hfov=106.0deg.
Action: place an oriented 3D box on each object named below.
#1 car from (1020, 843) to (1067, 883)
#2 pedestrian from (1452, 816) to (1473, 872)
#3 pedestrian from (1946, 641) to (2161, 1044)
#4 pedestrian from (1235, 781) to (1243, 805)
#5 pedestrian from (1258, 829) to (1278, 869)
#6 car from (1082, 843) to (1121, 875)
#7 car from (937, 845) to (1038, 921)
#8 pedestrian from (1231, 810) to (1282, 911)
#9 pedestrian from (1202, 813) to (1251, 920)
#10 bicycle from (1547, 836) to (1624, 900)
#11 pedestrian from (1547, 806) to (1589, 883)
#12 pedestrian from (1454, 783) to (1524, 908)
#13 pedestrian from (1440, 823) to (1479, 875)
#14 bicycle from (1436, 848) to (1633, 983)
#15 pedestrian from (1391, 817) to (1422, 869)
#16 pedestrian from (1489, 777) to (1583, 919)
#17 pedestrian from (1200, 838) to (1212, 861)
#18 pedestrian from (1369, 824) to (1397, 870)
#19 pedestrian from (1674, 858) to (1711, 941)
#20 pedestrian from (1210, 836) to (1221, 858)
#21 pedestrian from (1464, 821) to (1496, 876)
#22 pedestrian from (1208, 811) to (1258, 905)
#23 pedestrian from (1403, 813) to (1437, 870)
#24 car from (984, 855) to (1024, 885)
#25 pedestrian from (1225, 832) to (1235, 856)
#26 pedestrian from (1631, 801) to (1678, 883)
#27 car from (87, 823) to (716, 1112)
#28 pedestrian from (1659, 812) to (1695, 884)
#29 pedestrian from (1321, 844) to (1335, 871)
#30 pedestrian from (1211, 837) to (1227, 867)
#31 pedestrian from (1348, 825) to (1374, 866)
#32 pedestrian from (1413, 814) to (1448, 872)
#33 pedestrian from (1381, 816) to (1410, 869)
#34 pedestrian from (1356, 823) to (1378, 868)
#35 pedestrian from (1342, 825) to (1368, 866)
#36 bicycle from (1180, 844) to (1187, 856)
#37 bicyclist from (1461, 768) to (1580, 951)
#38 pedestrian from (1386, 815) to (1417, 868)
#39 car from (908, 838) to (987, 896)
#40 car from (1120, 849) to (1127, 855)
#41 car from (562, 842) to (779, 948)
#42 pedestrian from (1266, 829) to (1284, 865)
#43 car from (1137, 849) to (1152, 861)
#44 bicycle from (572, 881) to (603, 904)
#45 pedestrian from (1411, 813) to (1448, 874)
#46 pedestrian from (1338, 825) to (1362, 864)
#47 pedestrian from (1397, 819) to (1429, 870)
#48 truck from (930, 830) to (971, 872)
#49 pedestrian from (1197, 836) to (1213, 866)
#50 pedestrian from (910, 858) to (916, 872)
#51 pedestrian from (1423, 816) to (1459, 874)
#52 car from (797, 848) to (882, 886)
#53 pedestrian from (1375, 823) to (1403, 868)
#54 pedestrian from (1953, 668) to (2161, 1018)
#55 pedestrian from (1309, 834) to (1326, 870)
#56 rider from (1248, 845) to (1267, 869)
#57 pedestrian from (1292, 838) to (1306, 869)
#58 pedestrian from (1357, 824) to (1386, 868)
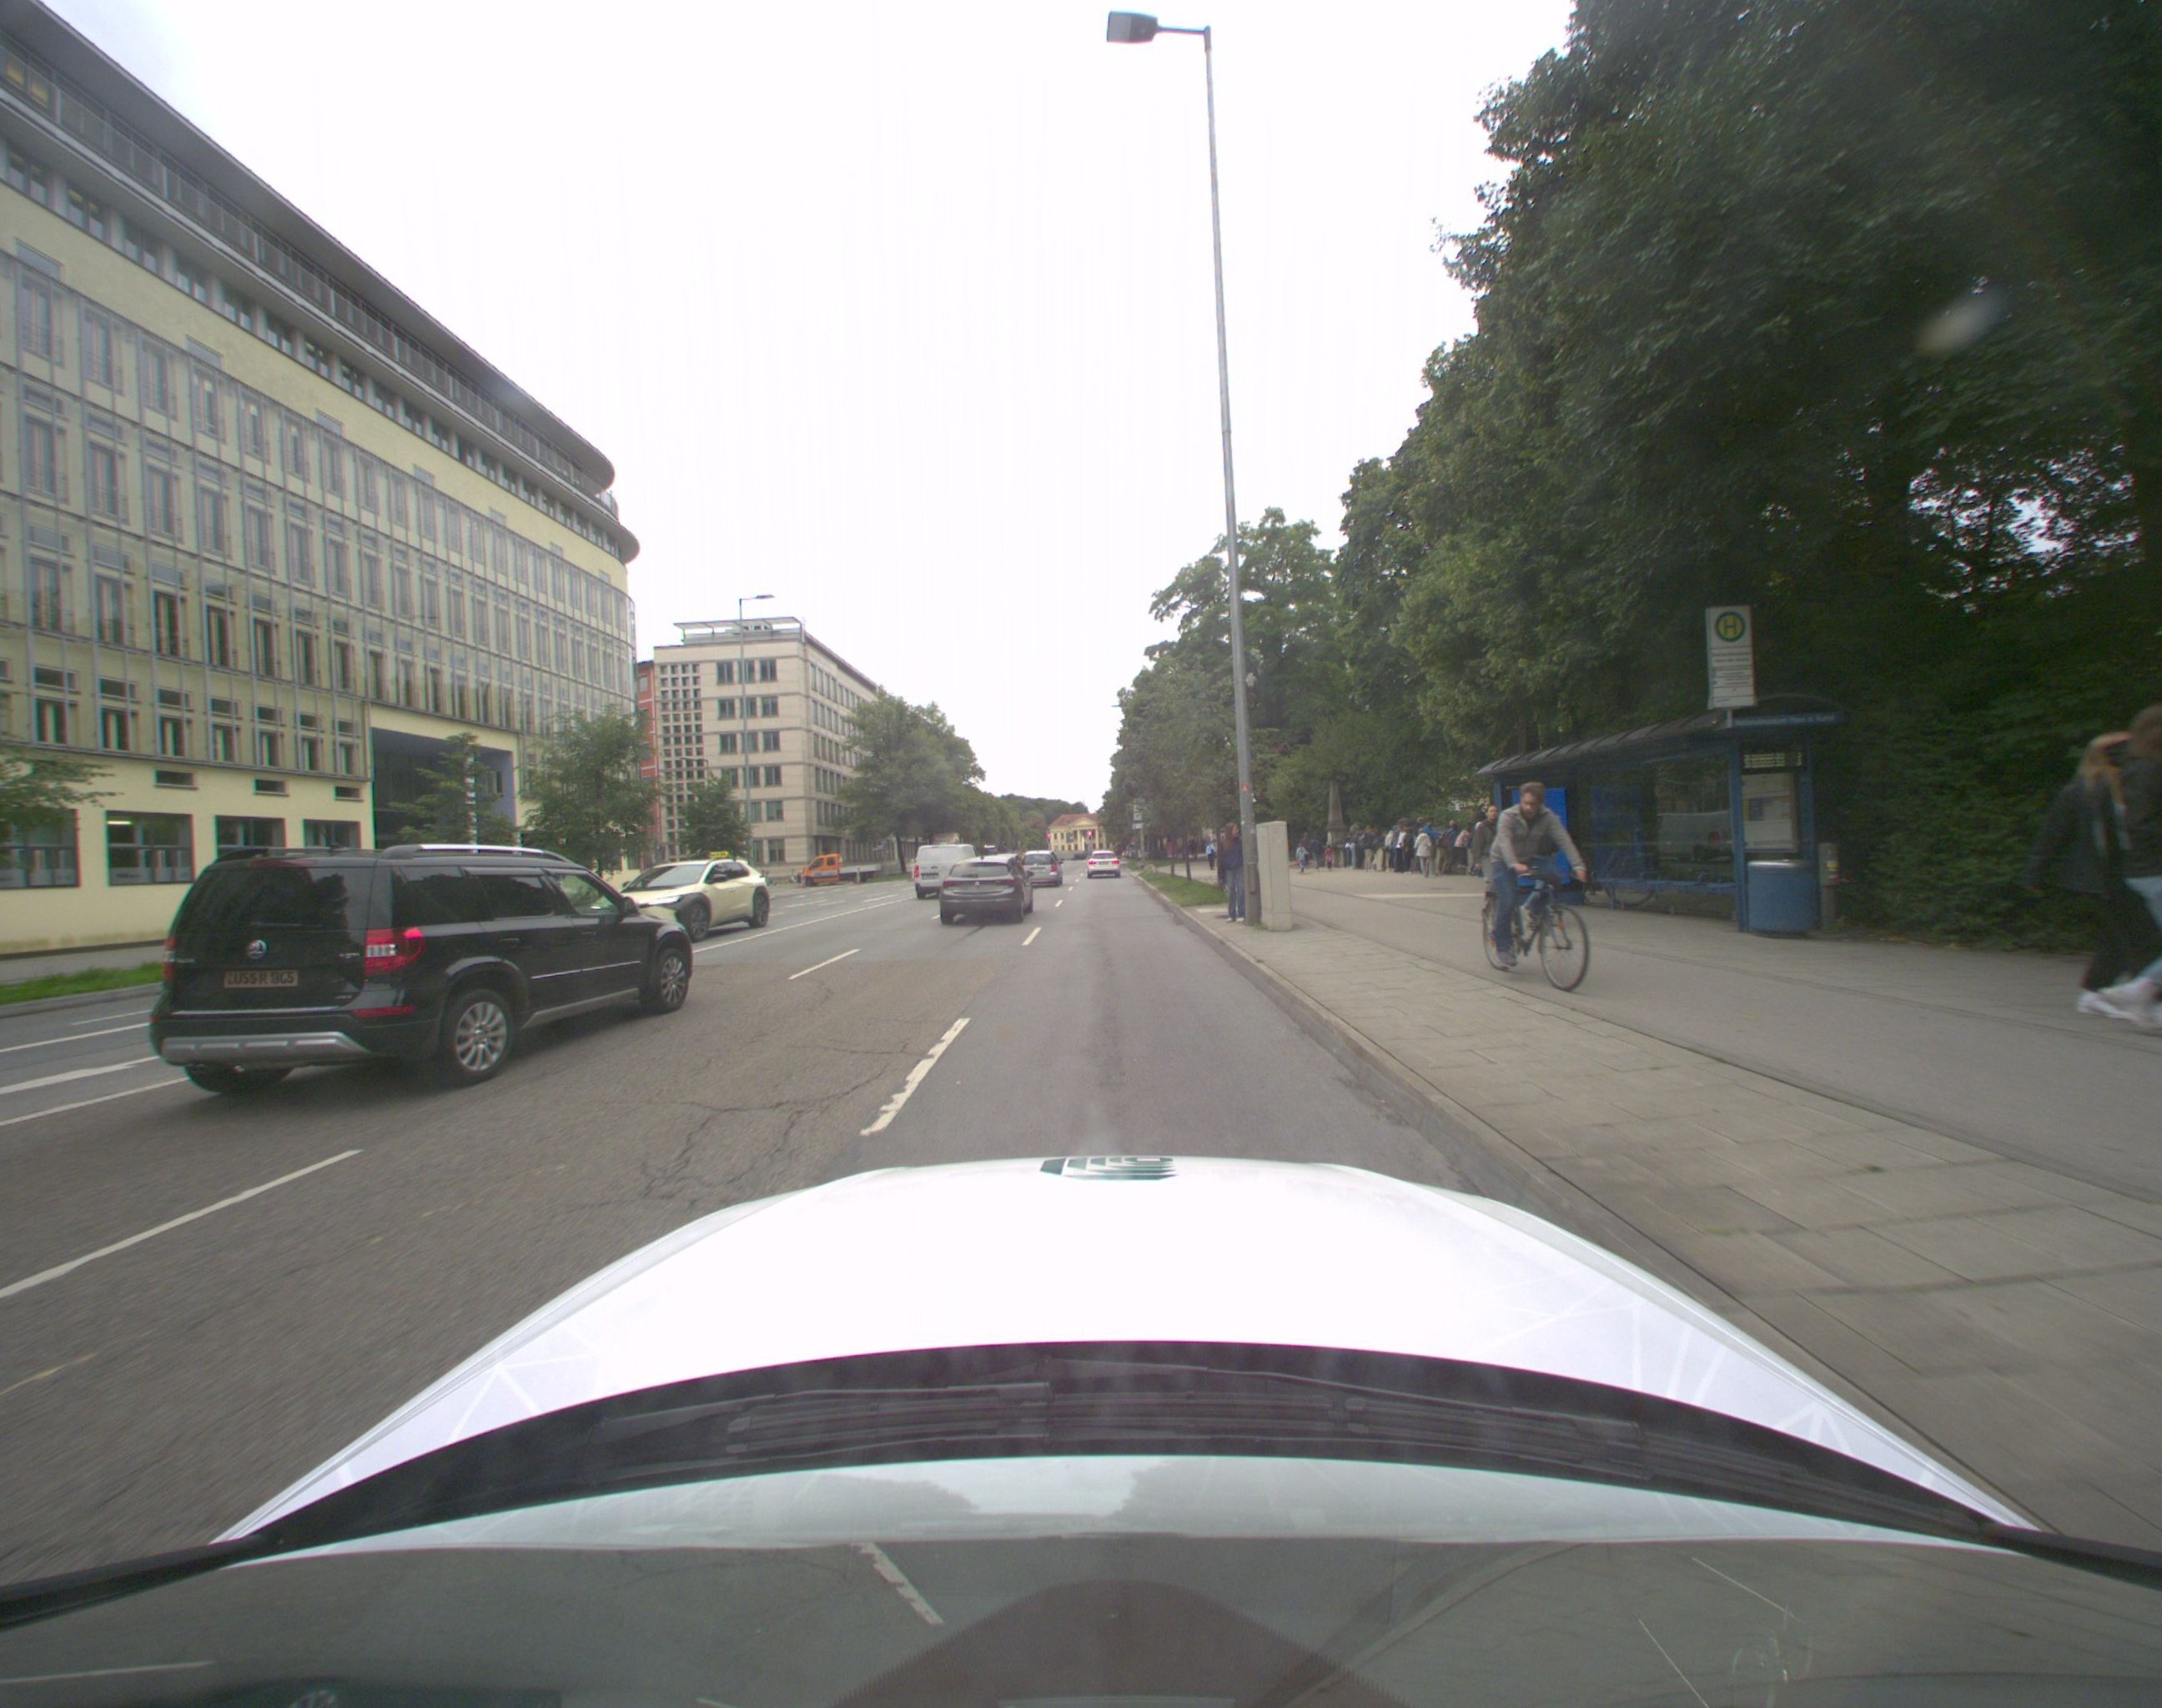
[{"bbox_3d":[-1.599,0.374,35.932,1.773,1.654,4.001,-1,0,1],"label":"car"},{"bbox_3d":[11.665,-0.302,24.920,0.418,1.704,0.443,-1,0,5],"label":"pedestrian"},{"bbox_3d":[5.493,-0.063,4.347,0.705,1.915,0.957,-1,0,1],"label":"pedestrian"},{"bbox_3d":[10.674,-4.104,54.991,0.481,1.566,0.575,-1,0,17],"label":"pedestrian"},{"bbox_3d":[7.949,-0.207,34.648,0.722,1.690,0.649,-1,0,6],"label":"pedestrian"},{"bbox_3d":[1.078,0.250,44.735,1.775,1.644,3.995,-1,0,-4],"label":"car"},{"bbox_3d":[-2.068,0.601,19.006,1.703,1.552,4.002,-1,0,2],"label":"car"},{"bbox_3d":[3.218,0.116,14.927,0.630,1.808,0.715,-2,0,37],"label":"pedestrian"},{"bbox_3d":[2.539,0.212,14.254,0.705,1.808,0.639,-1,0,1],"label":"pedestrian"},{"bbox_3d":[8.839,0.232,14.324,0.391,1.060,1.577,-1,0,1],"label":"bicycle"},{"bbox_3d":[11.347,-0.221,18.988,0.633,1.768,0.533,-1,0,4],"label":"pedestrian"},{"bbox_3d":[6.125,-0.125,12.248,0.705,1.808,0.639,-1,0,1],"label":"pedestrian"},{"bbox_3d":[11.168,-0.153,24.069,0.808,1.507,0.729,-1,0,4],"label":"pedestrian"},{"bbox_3d":[3.946,0.471,7.306,0.672,1.030,2.013,-1,0,1],"label":"bicycle"},{"bbox_3d":[11.445,-0.386,28.670,0.808,1.790,0.729,-1,0,4],"label":"pedestrian"},{"bbox_3d":[6.044,-0.077,10.871,0.705,1.808,0.950,-1,0,1],"label":"pedestrian"},{"bbox_3d":[9.633,-0.358,62.704,0.749,1.737,0.853,-1,0,17],"label":"pedestrian"},{"bbox_3d":[11.741,-0.264,31.674,0.808,1.739,0.729,-1,0,4],"label":"pedestrian"},{"bbox_3d":[12.747,0.944,16.982,0.418,1.704,0.443,-1,0,4],"label":"pedestrian"},{"bbox_3d":[10.634,-0.557,64.194,0.749,1.643,0.653,-1,0,17],"label":"pedestrian"},{"bbox_3d":[11.190,-0.152,22.853,0.633,1.507,0.533,-1,0,4],"label":"pedestrian"},{"bbox_3d":[3.113,0.087,16.680,0.795,1.881,0.547,-1,0,37],"label":"pedestrian"},{"bbox_3d":[11.323,-0.411,27.230,0.808,1.851,0.729,-1,0,4],"label":"pedestrian"},{"bbox_3d":[-4.380,0.888,47.041,1.772,1.654,4.002,-1,0,2],"label":"car"},{"bbox_3d":[11.673,-0.773,63.805,0.585,1.822,0.850,-1,0,2],"label":"pedestrian"},{"bbox_3d":[12.611,-0.265,17.920,0.633,1.768,0.533,-1,0,4],"label":"pedestrian"},{"bbox_3d":[-4.991,0.680,6.948,1.716,1.636,4.205,-3,0,1],"label":"car"},{"bbox_3d":[12.735,-0.129,17.408,0.418,1.507,0.443,-1,0,4],"label":"pedestrian"},{"bbox_3d":[10.457,0.150,34.461,0.455,1.153,0.649,-1,0,6],"label":"pedestrian"},{"bbox_3d":[7.743,-0.098,45.793,0.749,1.643,0.853,-1,0,17],"label":"pedestrian"},{"bbox_3d":[11.774,-0.362,34.234,0.808,1.690,0.729,-3,0,4],"label":"pedestrian"},{"bbox_3d":[11.328,-0.355,26.438,0.808,1.851,0.729,-1,0,4],"label":"pedestrian"},{"bbox_3d":[11.648,-0.436,30.195,0.808,1.917,0.729,-1,0,4],"label":"pedestrian"},{"bbox_3d":[10.973,-0.331,31.293,0.589,1.690,0.729,-1,0,4],"label":"pedestrian"},{"bbox_3d":[11.768,-0.373,35.026,0.808,1.690,0.729,-4,0,4],"label":"pedestrian"},{"bbox_3d":[8.711,-0.326,69.459,0.383,1.021,2.080,-1,0,2],"label":"bicycle"},{"bbox_3d":[3.945,0.044,7.353,0.705,1.562,0.639,-1,0,1],"label":"bicyclist"},{"bbox_3d":[11.581,-0.444,29.440,0.808,1.874,0.729,-1,0,4],"label":"pedestrian"},{"bbox_3d":[-4.794,0.450,29.971,1.892,1.847,4.956,-3,0,1],"label":"car"},{"bbox_3d":[10.219,-0.453,196.012,1.718,1.324,4.030,-3,0,2],"label":"car"},{"bbox_3d":[-8.123,0.706,16.729,1.850,1.748,4.632,-4,0,2],"label":"car"},{"bbox_3d":[9.396,-0.325,39.452,0.722,1.690,0.649,-1,0,6],"label":"pedestrian"},{"bbox_3d":[8.667,0.130,111.024,1.820,1.549,4.754,-3,0,2],"label":"car"},{"bbox_3d":[-23.777,1.842,39.259,0.571,1.013,1.592,-1,0,-2],"label":"bicycle"},{"bbox_3d":[10.632,-0.311,24.843,0.808,1.829,0.729,-1,0,4],"label":"pedestrian"},{"bbox_3d":[11.885,-0.409,36.009,0.808,1.690,0.729,-1,0,4],"label":"pedestrian"},{"bbox_3d":[11.389,-0.316,27.950,0.808,1.690,0.674,-1,0,4],"label":"pedestrian"},{"bbox_3d":[-12.386,-0.265,77.995,2.909,3.774,7.658,-1,0,-3],"label":"truck"},{"bbox_3d":[7.006,-0.160,45.992,0.749,1.643,0.853,-1,0,17],"label":"pedestrian"},{"bbox_3d":[-21.732,1.456,105.605,0.576,1.732,0.764,-1,0,2],"label":"pedestrian"},{"bbox_3d":[11.302,-0.273,25.615,0.808,1.768,0.729,-1,0,4],"label":"pedestrian"},{"bbox_3d":[-18.332,0.947,62.065,5.667,2.536,2.154,-3,0,-3],"label":"car"},{"bbox_3d":[11.709,-0.315,30.969,0.808,1.690,0.729,-1,0,4],"label":"pedestrian"},{"bbox_3d":[6.161,-0.069,4.933,0.705,1.915,0.957,-1,0,1],"label":"pedestrian"},{"bbox_3d":[10.049,-0.083,34.581,0.546,1.527,0.649,-1,0,6],"label":"pedestrian"},{"bbox_3d":[8.374,0.133,38.710,0.761,1.112,1.246,-1,0,6],"label":"rider"},{"bbox_3d":[9.372,-0.021,35.051,0.455,1.326,0.649,-1,0,6],"label":"pedestrian"},{"bbox_3d":[11.576,-0.328,32.479,0.808,1.690,0.729,-4,0,4],"label":"pedestrian"}]
